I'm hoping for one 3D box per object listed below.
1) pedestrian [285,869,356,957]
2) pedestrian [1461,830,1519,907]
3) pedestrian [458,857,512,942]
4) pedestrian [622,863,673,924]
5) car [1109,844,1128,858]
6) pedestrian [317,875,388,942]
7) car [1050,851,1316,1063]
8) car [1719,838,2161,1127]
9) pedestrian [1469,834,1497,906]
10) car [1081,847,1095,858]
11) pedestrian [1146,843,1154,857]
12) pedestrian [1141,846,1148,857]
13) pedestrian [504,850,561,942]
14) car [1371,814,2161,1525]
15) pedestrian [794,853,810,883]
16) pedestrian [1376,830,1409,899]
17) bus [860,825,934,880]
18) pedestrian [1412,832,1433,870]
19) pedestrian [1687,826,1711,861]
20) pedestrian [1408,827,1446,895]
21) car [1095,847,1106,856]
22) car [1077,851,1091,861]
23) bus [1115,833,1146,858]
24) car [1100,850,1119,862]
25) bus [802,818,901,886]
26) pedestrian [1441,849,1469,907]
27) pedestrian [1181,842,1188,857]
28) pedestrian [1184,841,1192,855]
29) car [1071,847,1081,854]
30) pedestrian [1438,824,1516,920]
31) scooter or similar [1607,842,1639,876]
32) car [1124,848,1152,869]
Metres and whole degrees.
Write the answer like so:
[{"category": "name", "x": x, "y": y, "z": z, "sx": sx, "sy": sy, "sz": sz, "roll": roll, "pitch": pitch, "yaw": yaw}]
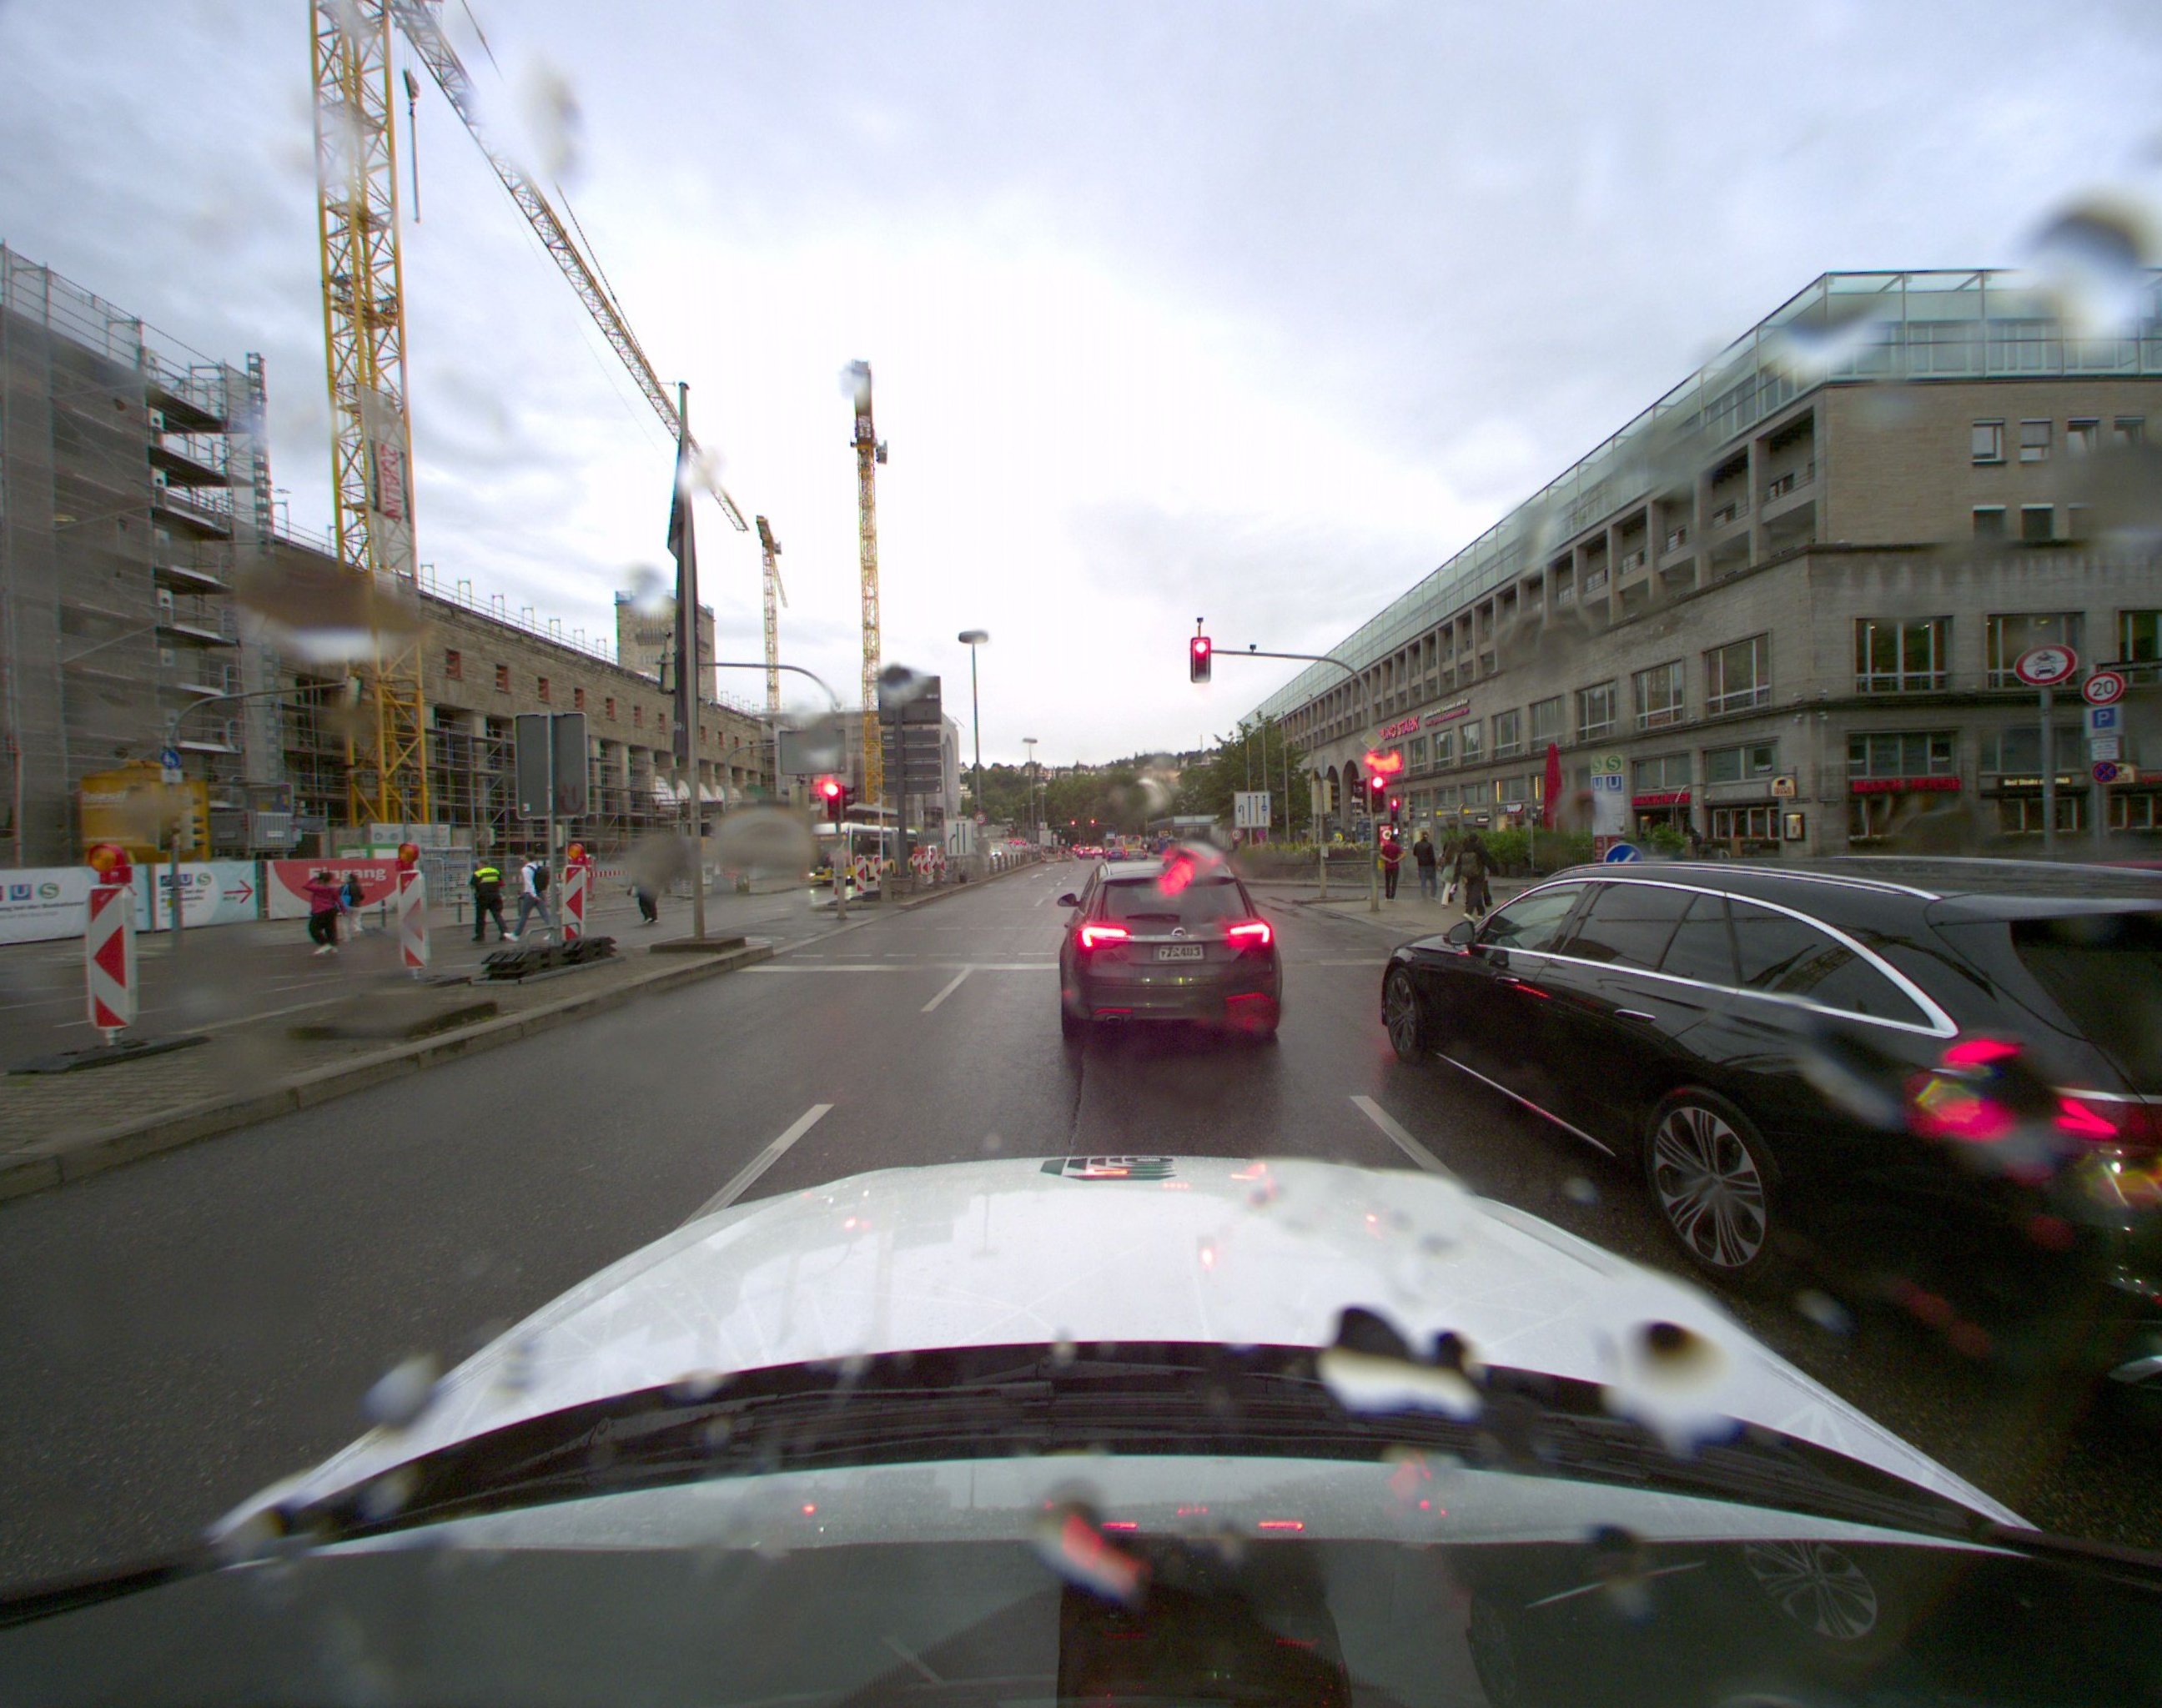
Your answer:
[{"category": "pedestrian", "x": -15.480, "y": 1.177, "z": 16.588, "sx": 0.797, "sy": 1.717, "sz": 0.619, "roll": -3, "pitch": 0, "yaw": -2}, {"category": "pedestrian", "x": 8.898, "y": 0.317, "z": 17.735, "sx": 0.791, "sy": 1.626, "sz": 0.899, "roll": 0, "pitch": -1, "yaw": -2}, {"category": "pedestrian", "x": -13.129, "y": 0.984, "z": 17.958, "sx": 0.576, "sy": 1.836, "sz": 0.820, "roll": 0, "pitch": -1, "yaw": 2}, {"category": "pedestrian", "x": -11.278, "y": 1.011, "z": 21.220, "sx": 0.866, "sy": 1.561, "sz": 0.790, "roll": 0, "pitch": -1, "yaw": 13}, {"category": "car", "x": 3.962, "y": -0.306, "z": 86.465, "sx": 1.748, "sy": 1.398, "sz": 4.647, "roll": 0, "pitch": 0, "yaw": -1}, {"category": "pedestrian", "x": -17.715, "y": 1.307, "z": 19.824, "sx": 0.912, "sy": 1.563, "sz": 0.899, "roll": 0, "pitch": -1, "yaw": -2}, {"category": "car", "x": 0.767, "y": 0.736, "z": 7.743, "sx": 1.868, "sy": 1.486, "sz": 4.001, "roll": 0, "pitch": 0, "yaw": 1}, {"category": "car", "x": 6.494, "y": 0.657, "z": 4.889, "sx": 1.868, "sy": 1.486, "sz": 4.527, "roll": 0, "pitch": 0, "yaw": 1}, {"category": "pedestrian", "x": 10.028, "y": 0.389, "z": 20.309, "sx": 0.477, "sy": 1.751, "sz": 0.670, "roll": -4, "pitch": -1, "yaw": 22}, {"category": "car", "x": 0.884, "y": -0.158, "z": 100.660, "sx": 1.747, "sy": 1.398, "sz": 4.538, "roll": 0, "pitch": 0, "yaw": 0}, {"category": "pedestrian", "x": 11.522, "y": -0.653, "z": 136.372, "sx": 1.194, "sy": 2.435, "sz": 1.229, "roll": 0, "pitch": -1, "yaw": 3}, {"category": "pedestrian", "x": 11.764, "y": -0.444, "z": 150.150, "sx": 1.194, "sy": 2.149, "sz": 1.229, "roll": 0, "pitch": -1, "yaw": 3}, {"category": "pedestrian", "x": -11.501, "y": 0.869, "z": 17.095, "sx": 0.798, "sy": 1.890, "sz": 0.618, "roll": 0, "pitch": -1, "yaw": -7}, {"category": "car", "x": 3.095, "y": 0.671, "z": 4.031, "sx": 1.787, "sy": 1.501, "sz": 4.630, "roll": 0, "pitch": 0, "yaw": 1}, {"category": "pedestrian", "x": -15.710, "y": 0.803, "z": 45.893, "sx": 0.657, "sy": 1.680, "sz": 0.644, "roll": 0, "pitch": -1, "yaw": 2}, {"category": "pedestrian", "x": 8.119, "y": 0.276, "z": 21.205, "sx": 0.563, "sy": 1.752, "sz": 0.684, "roll": -1, "pitch": -1, "yaw": 44}, {"category": "bus", "x": -13.064, "y": -0.052, "z": 58.862, "sx": 2.658, "sy": 3.602, "sz": 10.215, "roll": 0, "pitch": 0, "yaw": 2}, {"category": "pedestrian", "x": 18.416, "y": -0.161, "z": 43.907, "sx": 0.756, "sy": 2.014, "sz": 0.830, "roll": -1, "pitch": -1, "yaw": 43}, {"category": "pedestrian", "x": 26.811, "y": -0.451, "z": 35.326, "sx": 0.750, "sy": 1.512, "sz": 0.721, "roll": -1, "pitch": -1, "yaw": 43}, {"category": "pedestrian", "x": 8.880, "y": 0.179, "z": 20.907, "sx": 0.753, "sy": 1.717, "sz": 0.466, "roll": 0, "pitch": -1, "yaw": -2}, {"category": "car", "x": 3.343, "y": -0.412, "z": 139.295, "sx": 1.839, "sy": 1.398, "sz": 3.565, "roll": 0, "pitch": 0, "yaw": 2}, {"category": "car", "x": 0.461, "y": 0.324, "z": 118.522, "sx": 1.839, "sy": 1.398, "sz": 3.565, "roll": 0, "pitch": 0, "yaw": 2}, {"category": "bus", "x": 7.217, "y": -1.133, "z": 120.943, "sx": 4.158, "sy": 3.469, "sz": 14.660, "roll": 0, "pitch": 0, "yaw": 2}, {"category": "car", "x": 3.618, "y": 0.254, "z": 103.986, "sx": 1.752, "sy": 1.398, "sz": 4.389, "roll": 0, "pitch": 0, "yaw": -8}, {"category": "bus", "x": -13.389, "y": -0.100, "z": 48.539, "sx": 2.658, "sy": 3.602, "sz": 10.243, "roll": 0, "pitch": 0, "yaw": 2}, {"category": "pedestrian", "x": 9.420, "y": 0.590, "z": 20.517, "sx": 0.625, "sy": 1.428, "sz": 0.492, "roll": -1, "pitch": -1, "yaw": 24}, {"category": "pedestrian", "x": 12.119, "y": -0.526, "z": 95.311, "sx": 0.761, "sy": 1.690, "sz": 0.824, "roll": 0, "pitch": -1, "yaw": -3}, {"category": "pedestrian", "x": 12.387, "y": -0.699, "z": 94.109, "sx": 0.761, "sy": 1.690, "sz": 0.824, "roll": 0, "pitch": -1, "yaw": -3}, {"category": "car", "x": -0.933, "y": -0.620, "z": 150.218, "sx": 1.752, "sy": 1.398, "sz": 3.565, "roll": 0, "pitch": 0, "yaw": 2}, {"category": "pedestrian", "x": 7.606, "y": 0.338, "z": 15.672, "sx": 1.093, "sy": 1.751, "sz": 0.653, "roll": -3, "pitch": -1, "yaw": -1}, {"category": "scooter or similar", "x": 19.378, "y": 0.180, "z": 29.128, "sx": 0.290, "sy": 1.189, "sz": 1.014, "roll": 0, "pitch": -1, "yaw": -17}, {"category": "car", "x": 3.856, "y": 0.287, "z": 55.712, "sx": 1.838, "sy": 1.398, "sz": 3.669, "roll": 0, "pitch": 0, "yaw": 2}]
